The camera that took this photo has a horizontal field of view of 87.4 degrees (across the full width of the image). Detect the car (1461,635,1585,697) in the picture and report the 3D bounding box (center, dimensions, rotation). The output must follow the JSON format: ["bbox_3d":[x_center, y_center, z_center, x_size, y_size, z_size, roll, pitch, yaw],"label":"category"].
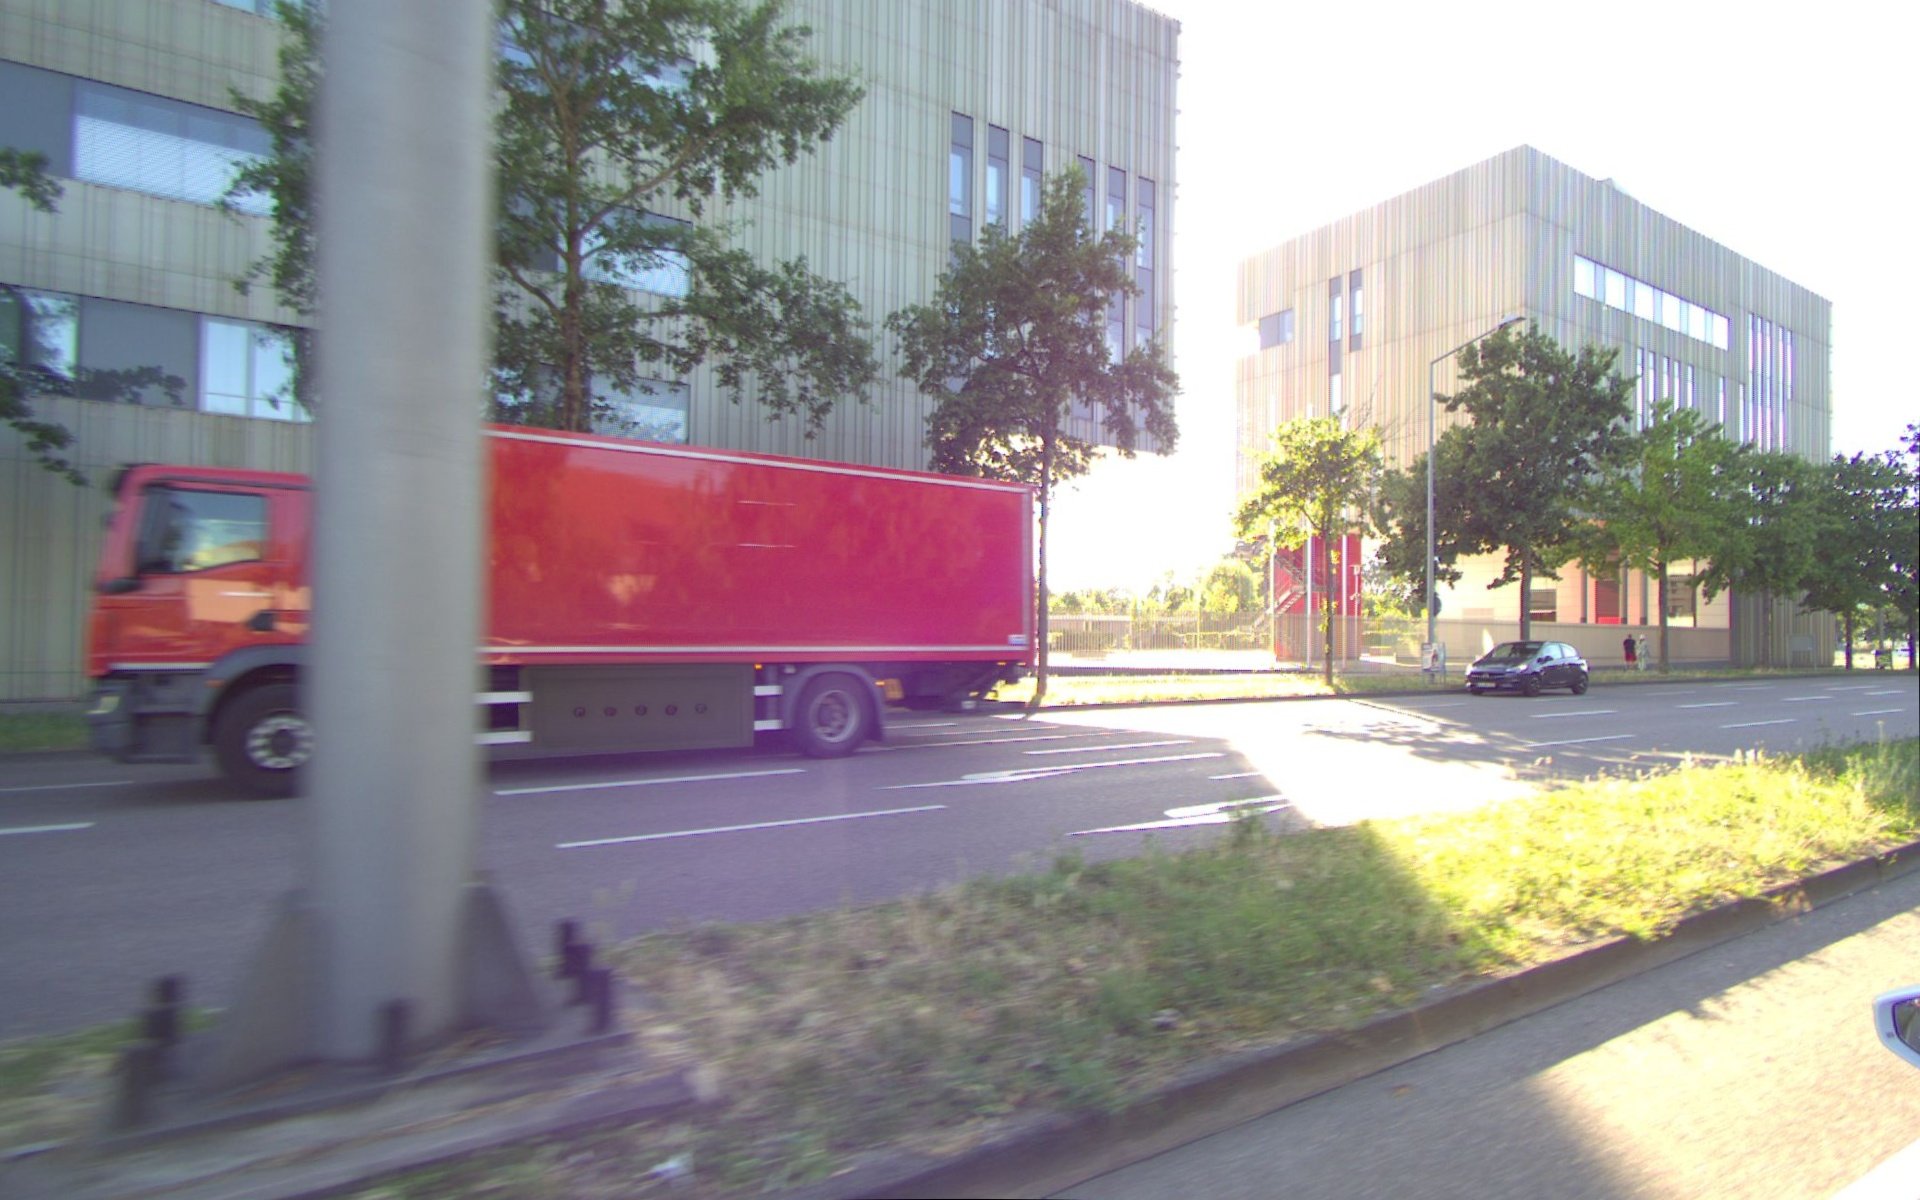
[{"bbox_3d":[15.334,1.743,27.305,3.832,1.532,1.584,2,-2,-37],"label":"car"}]

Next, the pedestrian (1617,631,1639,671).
[{"bbox_3d":[31.520,2.417,47.391,0.708,1.865,0.629,1,-1,-31],"label":"pedestrian"}]

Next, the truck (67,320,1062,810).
[{"bbox_3d":[-3.612,-0.146,11.912,9.982,3.861,2.981,2,-2,-33],"label":"truck"}]

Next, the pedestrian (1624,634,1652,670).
[{"bbox_3d":[31.267,2.386,46.334,0.899,1.622,0.772,1,-1,-31],"label":"pedestrian"}]

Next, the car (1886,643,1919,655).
[{"bbox_3d":[125.640,6.471,133.238,3.634,1.528,1.876,0,-2,15],"label":"car"}]
